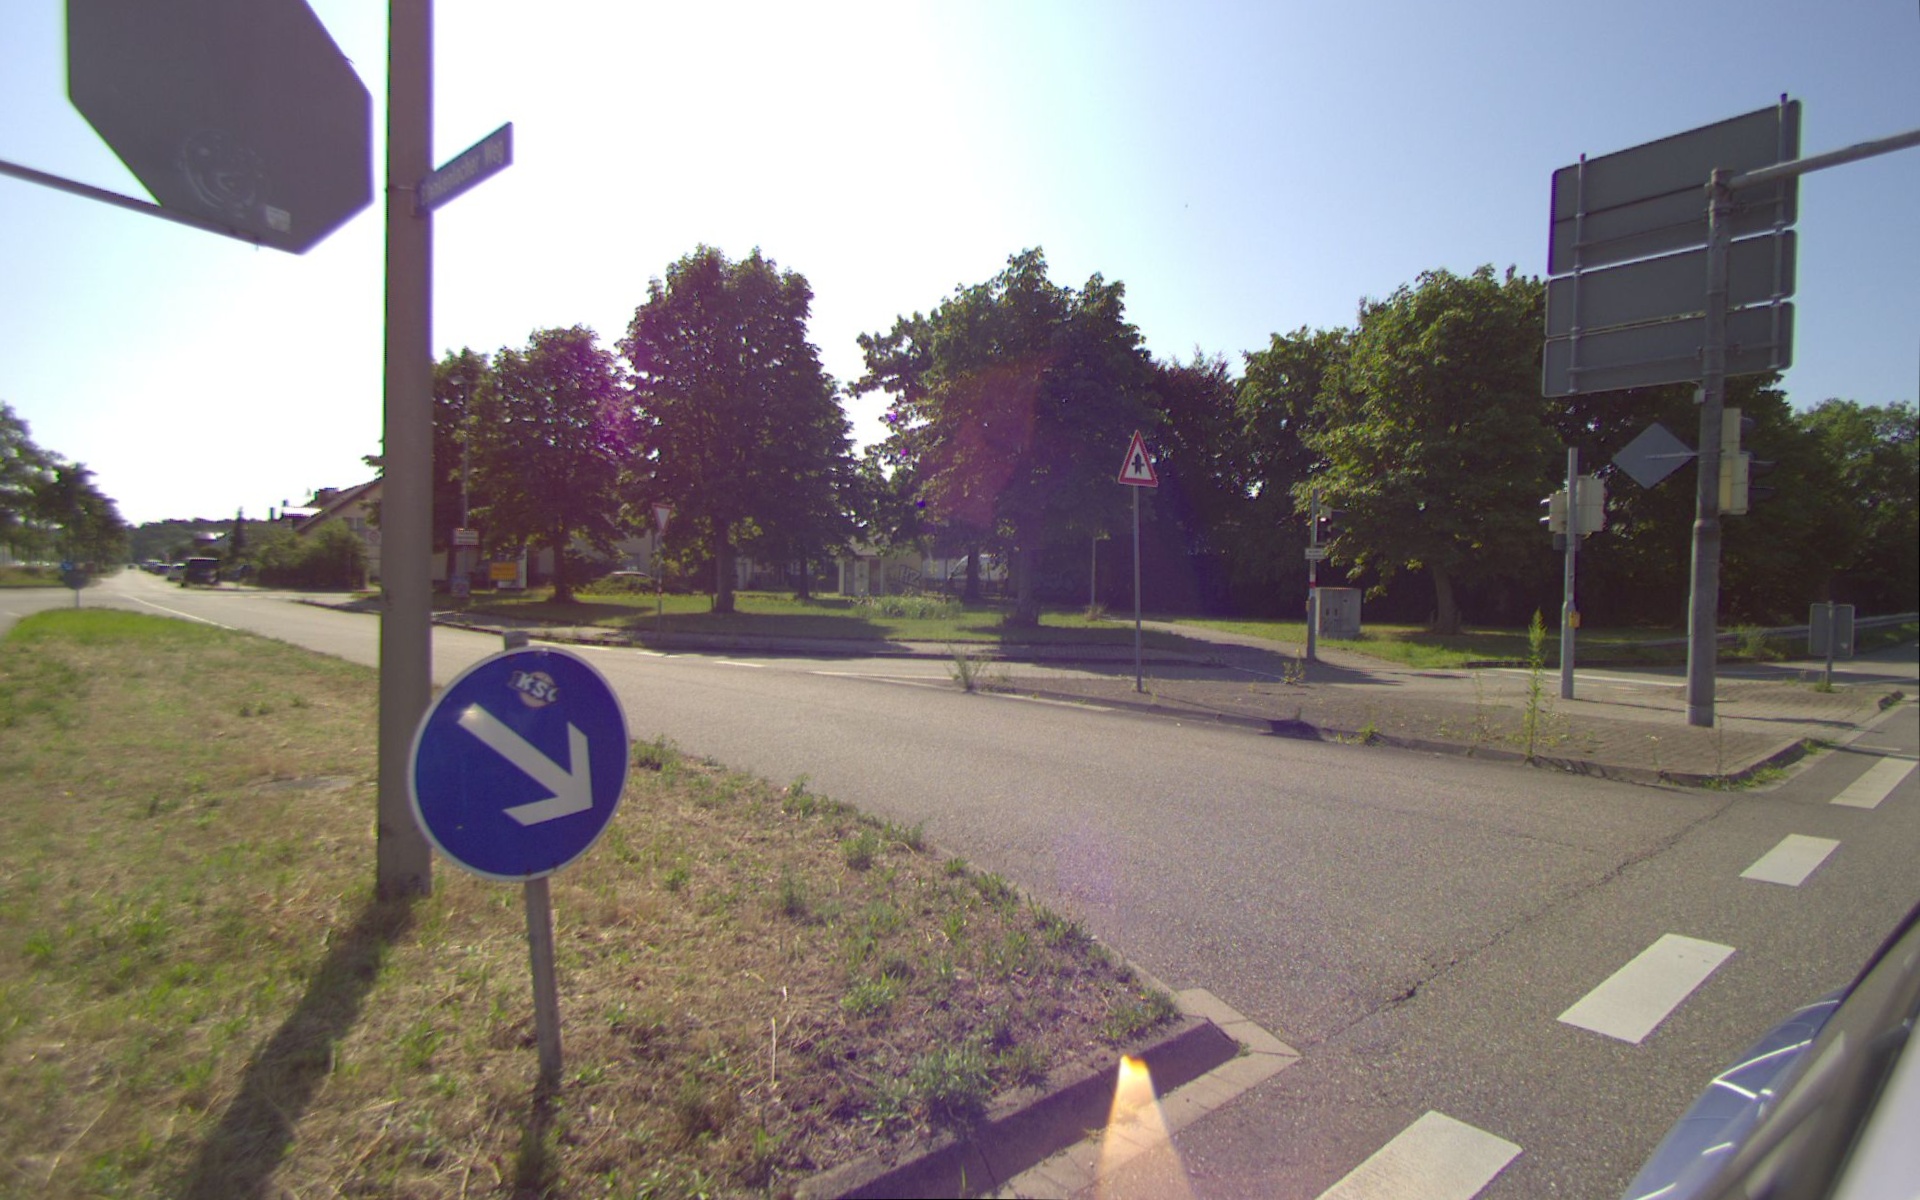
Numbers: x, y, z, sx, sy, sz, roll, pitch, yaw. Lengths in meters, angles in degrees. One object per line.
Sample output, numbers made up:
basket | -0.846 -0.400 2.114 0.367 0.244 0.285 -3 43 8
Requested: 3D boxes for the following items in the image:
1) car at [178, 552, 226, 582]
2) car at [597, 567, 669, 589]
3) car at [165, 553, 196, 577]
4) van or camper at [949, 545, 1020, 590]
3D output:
car | -48.714 -2.130 65.087 1.960 1.812 4.005 0 2 -29
car | -20.337 -1.364 63.030 3.929 1.304 1.731 -1 2 -40
car | -65.832 -2.904 85.520 1.963 1.950 3.998 -1 1 -37
van or camper | 1.619 -2.202 67.843 1.966 2.866 4.806 0 2 -43
